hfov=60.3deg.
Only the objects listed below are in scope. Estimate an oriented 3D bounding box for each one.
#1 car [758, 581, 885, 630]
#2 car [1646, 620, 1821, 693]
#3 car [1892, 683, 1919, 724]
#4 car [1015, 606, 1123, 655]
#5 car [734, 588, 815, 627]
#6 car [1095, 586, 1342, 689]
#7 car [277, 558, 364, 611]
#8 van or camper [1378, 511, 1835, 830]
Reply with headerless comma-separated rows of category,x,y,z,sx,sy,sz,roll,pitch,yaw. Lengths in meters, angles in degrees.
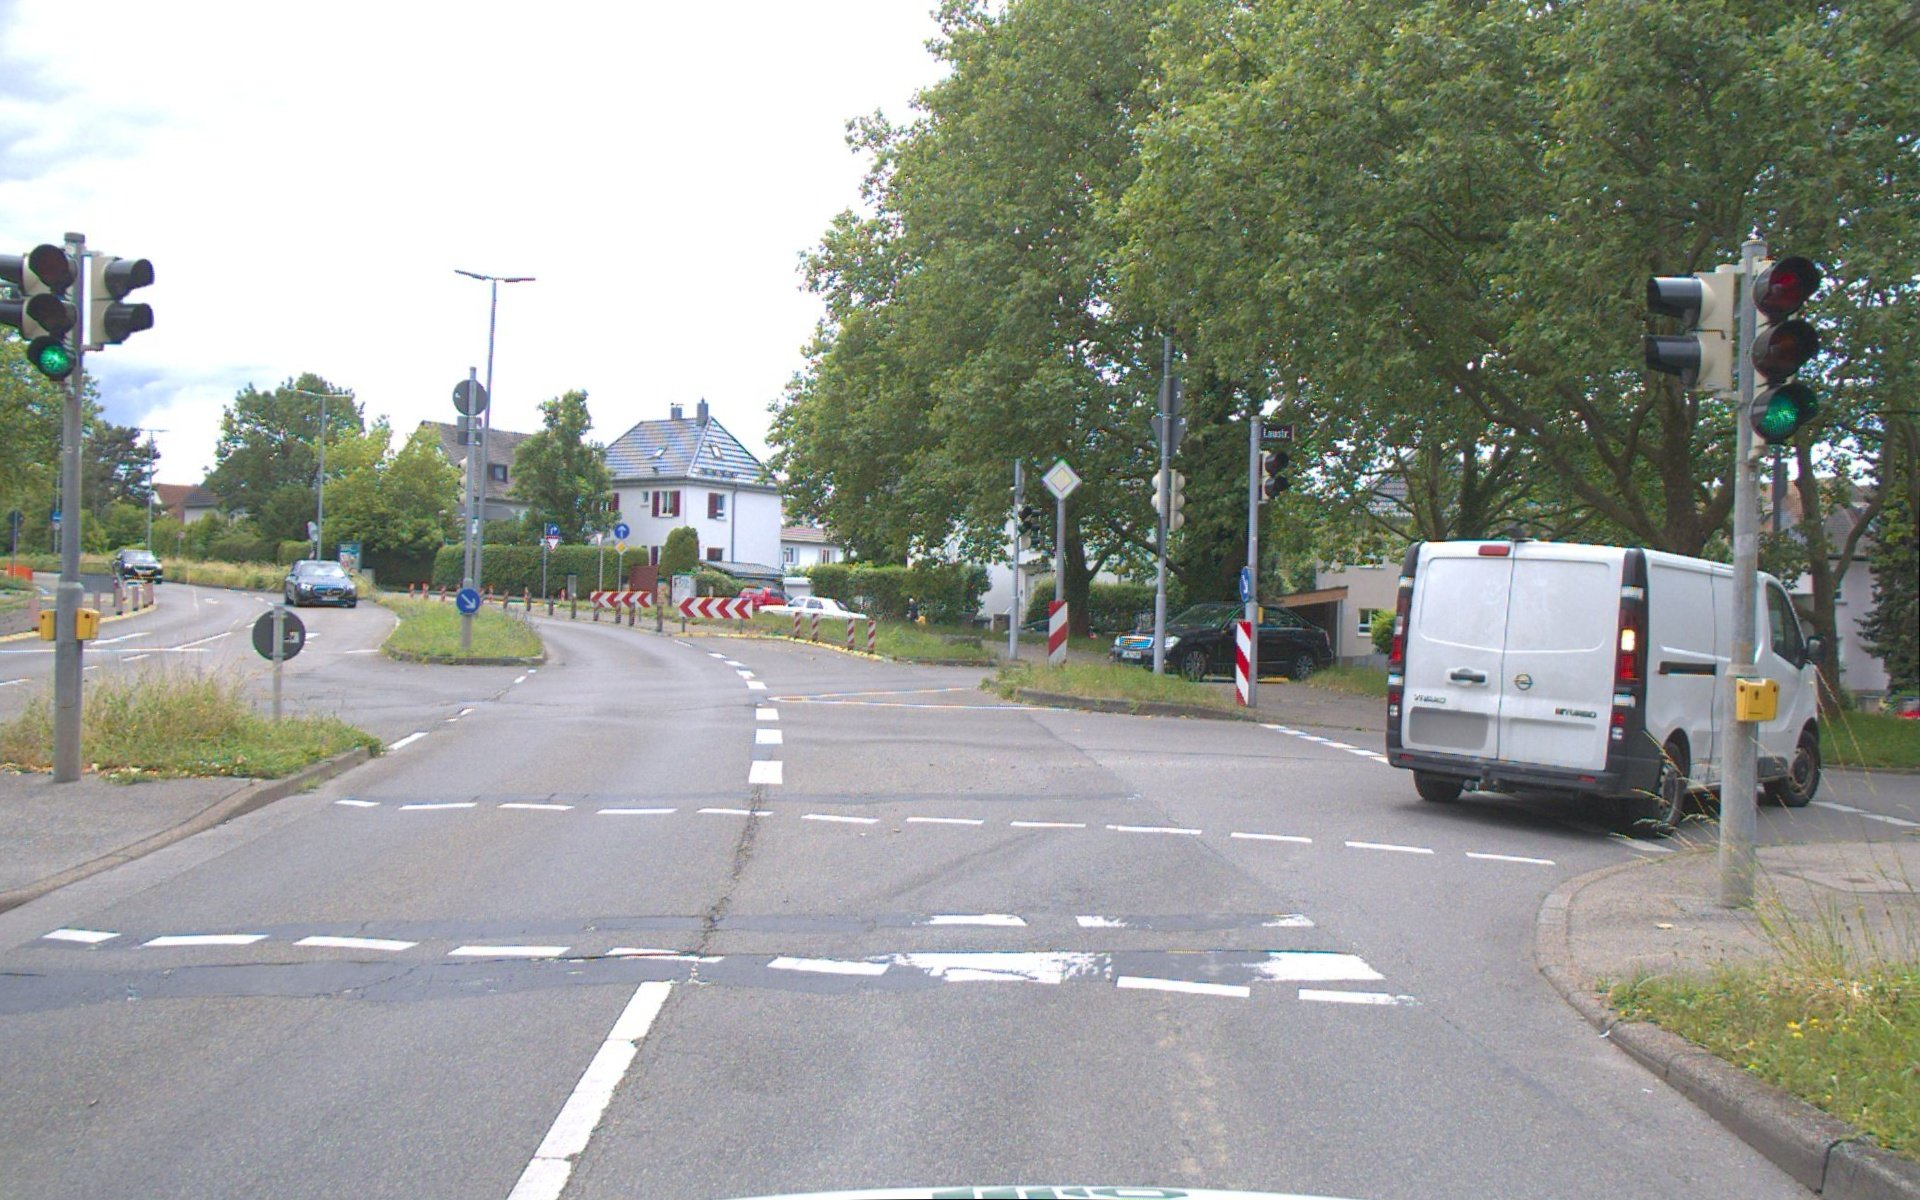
car,-5.749,0.231,68.604,4.771,1.822,2.215,2,0,25
car,18.753,1.370,40.022,4.558,1.619,1.742,2,0,-34
car,37.963,4.041,63.001,4.190,1.499,1.727,4,-2,-13
car,4.267,1.162,64.684,3.901,1.540,1.663,5,1,14
car,-8.526,0.342,76.140,1.576,1.544,3.813,3,-1,33
car,4.677,0.691,29.701,4.334,1.544,1.742,5,-1,-34
car,-21.184,-0.541,54.708,1.823,1.660,4.211,0,1,-33
van or camper,5.281,0.465,13.081,1.895,2.049,4.803,2,0,40
